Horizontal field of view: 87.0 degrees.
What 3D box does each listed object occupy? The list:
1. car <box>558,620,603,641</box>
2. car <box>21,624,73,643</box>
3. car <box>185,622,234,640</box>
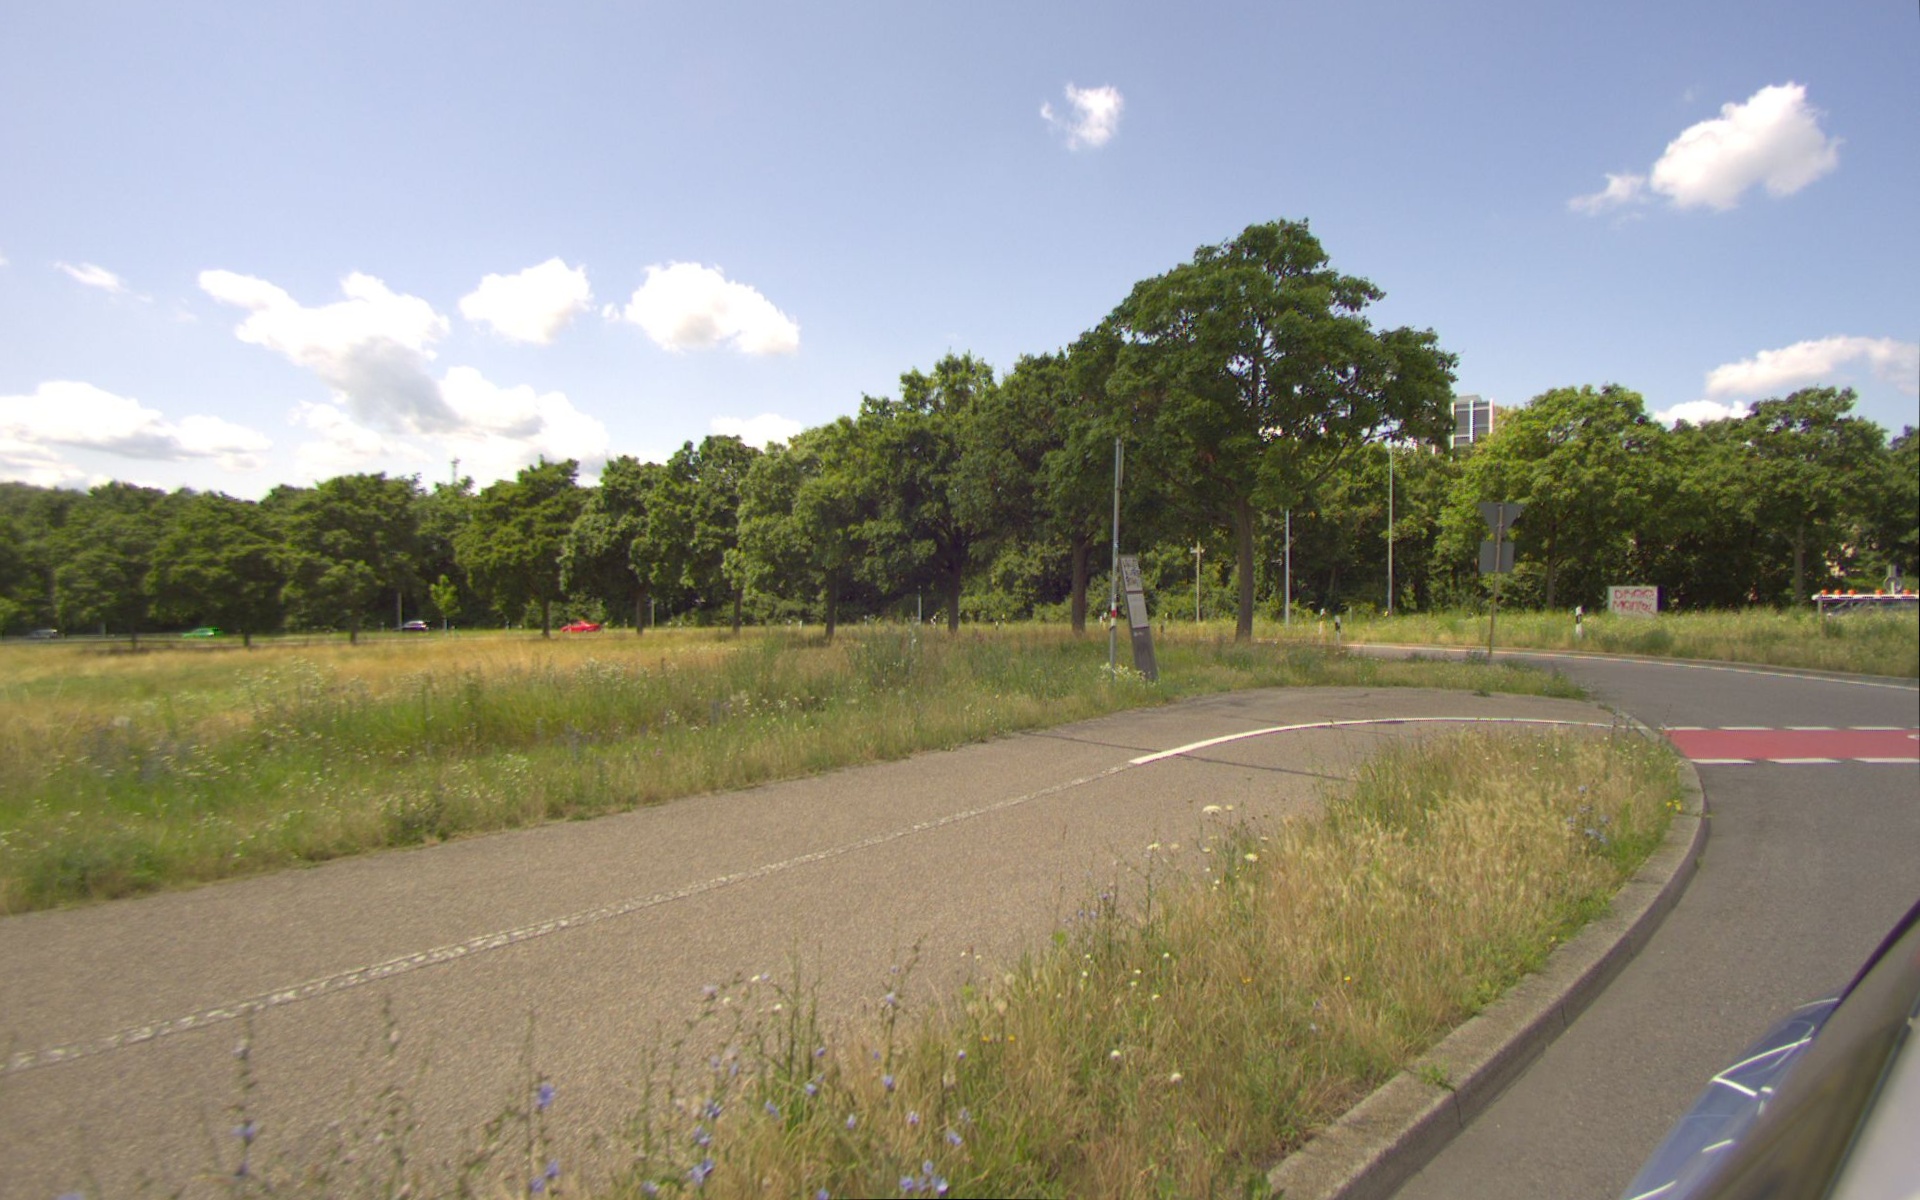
[{"bbox_3d":[-38.082,3.065,101.587,3.954,2.039,1.984,-1,-1,23],"label":"car"},{"bbox_3d":[-98.153,3.572,108.782,3.927,1.906,1.998,-1,-1,3],"label":"car"},{"bbox_3d":[-81.394,3.359,109.755,3.927,1.906,1.998,-1,-1,3],"label":"car"}]
